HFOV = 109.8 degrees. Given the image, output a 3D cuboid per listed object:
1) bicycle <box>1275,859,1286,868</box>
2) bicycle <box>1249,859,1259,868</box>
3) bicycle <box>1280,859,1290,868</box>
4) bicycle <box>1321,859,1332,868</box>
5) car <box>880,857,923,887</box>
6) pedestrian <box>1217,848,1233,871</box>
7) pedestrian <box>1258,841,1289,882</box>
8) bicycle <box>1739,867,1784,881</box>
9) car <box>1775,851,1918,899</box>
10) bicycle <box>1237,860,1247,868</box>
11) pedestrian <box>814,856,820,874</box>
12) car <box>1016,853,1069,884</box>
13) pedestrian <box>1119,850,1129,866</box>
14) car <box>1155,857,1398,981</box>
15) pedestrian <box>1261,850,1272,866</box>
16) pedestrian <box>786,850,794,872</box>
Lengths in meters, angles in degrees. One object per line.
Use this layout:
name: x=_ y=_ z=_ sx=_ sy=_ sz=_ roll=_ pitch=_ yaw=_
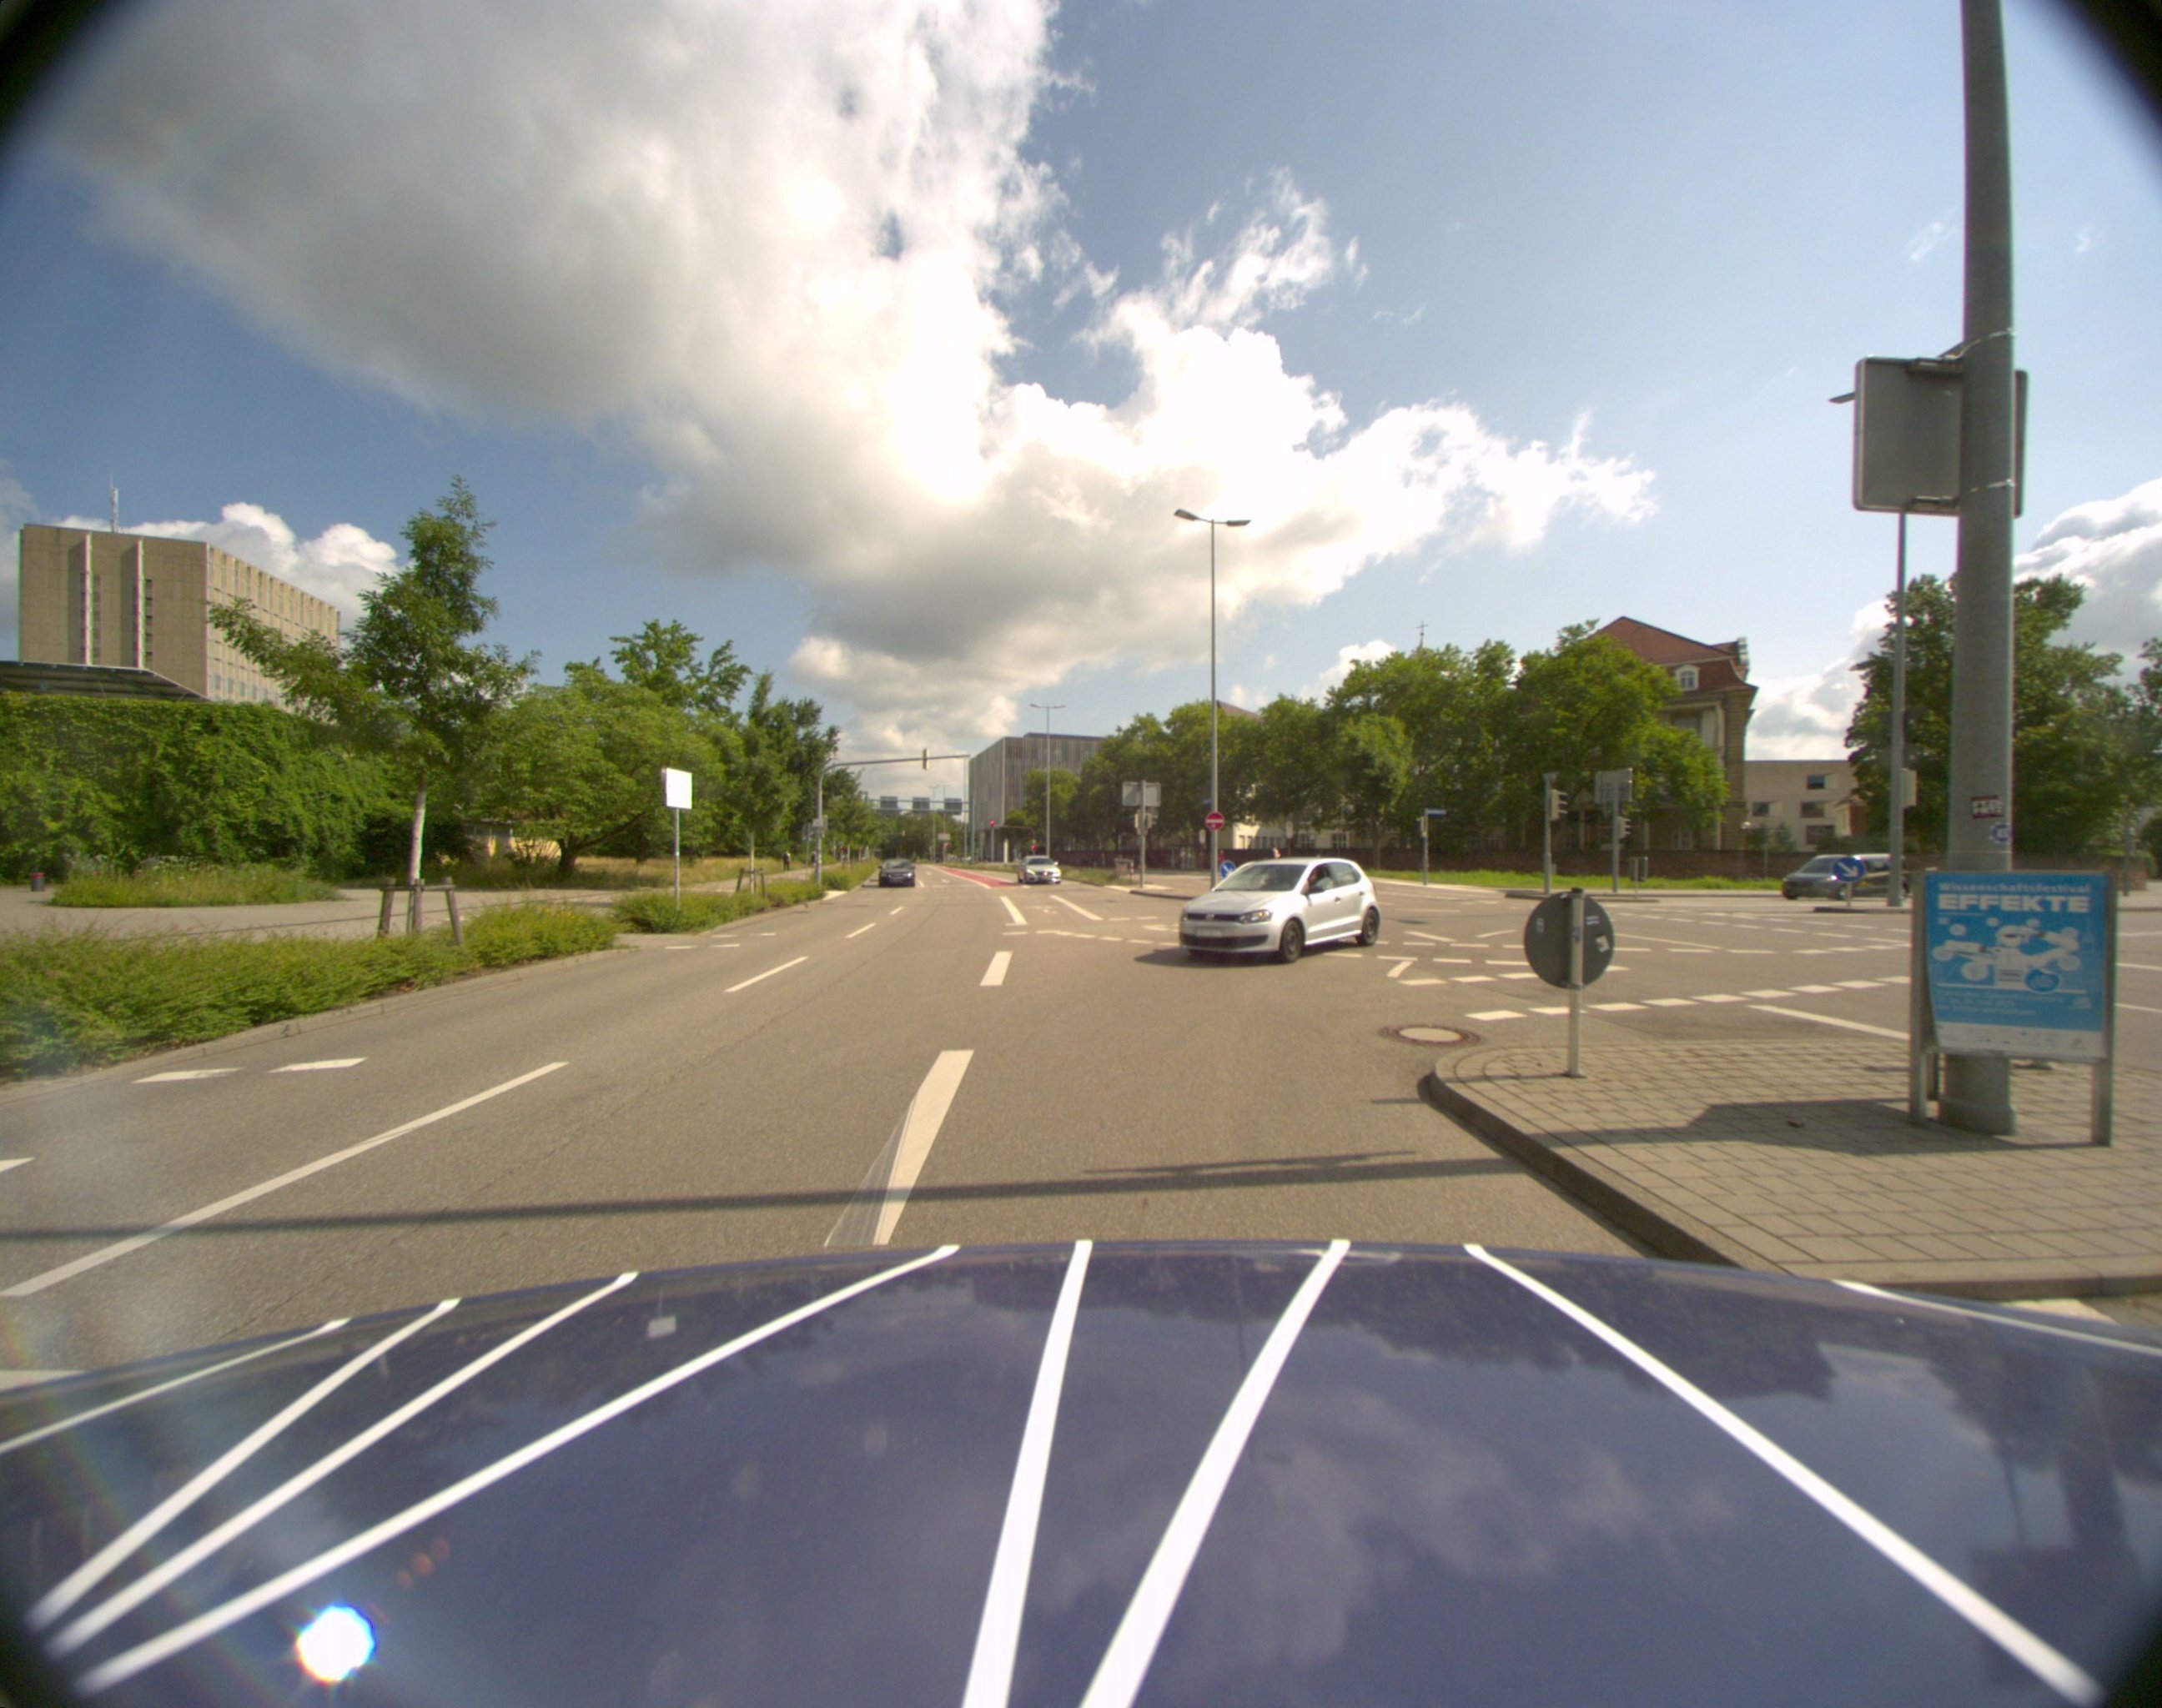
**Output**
bicycle: x=19.515 y=0.942 z=74.323 sx=0.975 sy=0.843 sz=0.481 roll=1 pitch=1 yaw=-39
bicycle: x=17.452 y=0.964 z=76.819 sx=0.975 sy=0.843 sz=0.481 roll=1 pitch=1 yaw=-39
bicycle: x=19.823 y=0.925 z=73.848 sx=0.975 sy=0.843 sz=0.481 roll=1 pitch=1 yaw=-39
bicycle: x=22.736 y=0.909 z=70.273 sx=0.975 sy=0.843 sz=0.481 roll=1 pitch=1 yaw=-39
car: x=-9.092 y=0.879 z=38.631 sx=2.001 sy=1.369 sz=4.155 roll=1 pitch=0 yaw=-12
pedestrian: x=11.222 y=0.412 z=59.307 sx=0.751 sy=1.770 sz=0.963 roll=-1 pitch=1 yaw=-28
pedestrian: x=8.920 y=0.357 z=35.203 sx=1.182 sy=1.846 sz=0.697 roll=0 pitch=-1 yaw=-28
bicycle: x=45.372 y=1.331 z=50.662 sx=2.055 sy=0.856 sz=0.860 roll=1 pitch=2 yaw=27
car: x=29.618 y=0.829 z=29.411 sx=4.674 sy=1.774 sz=1.852 roll=1 pitch=-1 yaw=-16
bicycle: x=16.504 y=1.007 z=78.055 sx=0.975 sy=0.843 sz=0.481 roll=1 pitch=1 yaw=-39
pedestrian: x=-25.787 y=1.121 z=74.173 sx=0.542 sy=1.757 sz=0.523 roll=0 pitch=-1 yaw=-21
car: x=-2.124 y=0.724 z=40.341 sx=2.063 sy=1.434 sz=4.774 roll=-2 pitch=1 yaw=-12
pedestrian: x=5.279 y=0.487 z=92.680 sx=0.768 sy=1.770 sz=0.888 roll=-1 pitch=4 yaw=42
car: x=3.088 y=0.828 z=11.526 sx=4.013 sy=1.434 sz=1.652 roll=-2 pitch=1 yaw=-43
pedestrian: x=18.223 y=0.376 z=74.734 sx=0.727 sy=1.525 sz=0.722 roll=-1 pitch=1 yaw=-36
pedestrian: x=-21.314 y=0.528 z=55.613 sx=0.542 sy=1.598 sz=0.523 roll=0 pitch=-1 yaw=-21
